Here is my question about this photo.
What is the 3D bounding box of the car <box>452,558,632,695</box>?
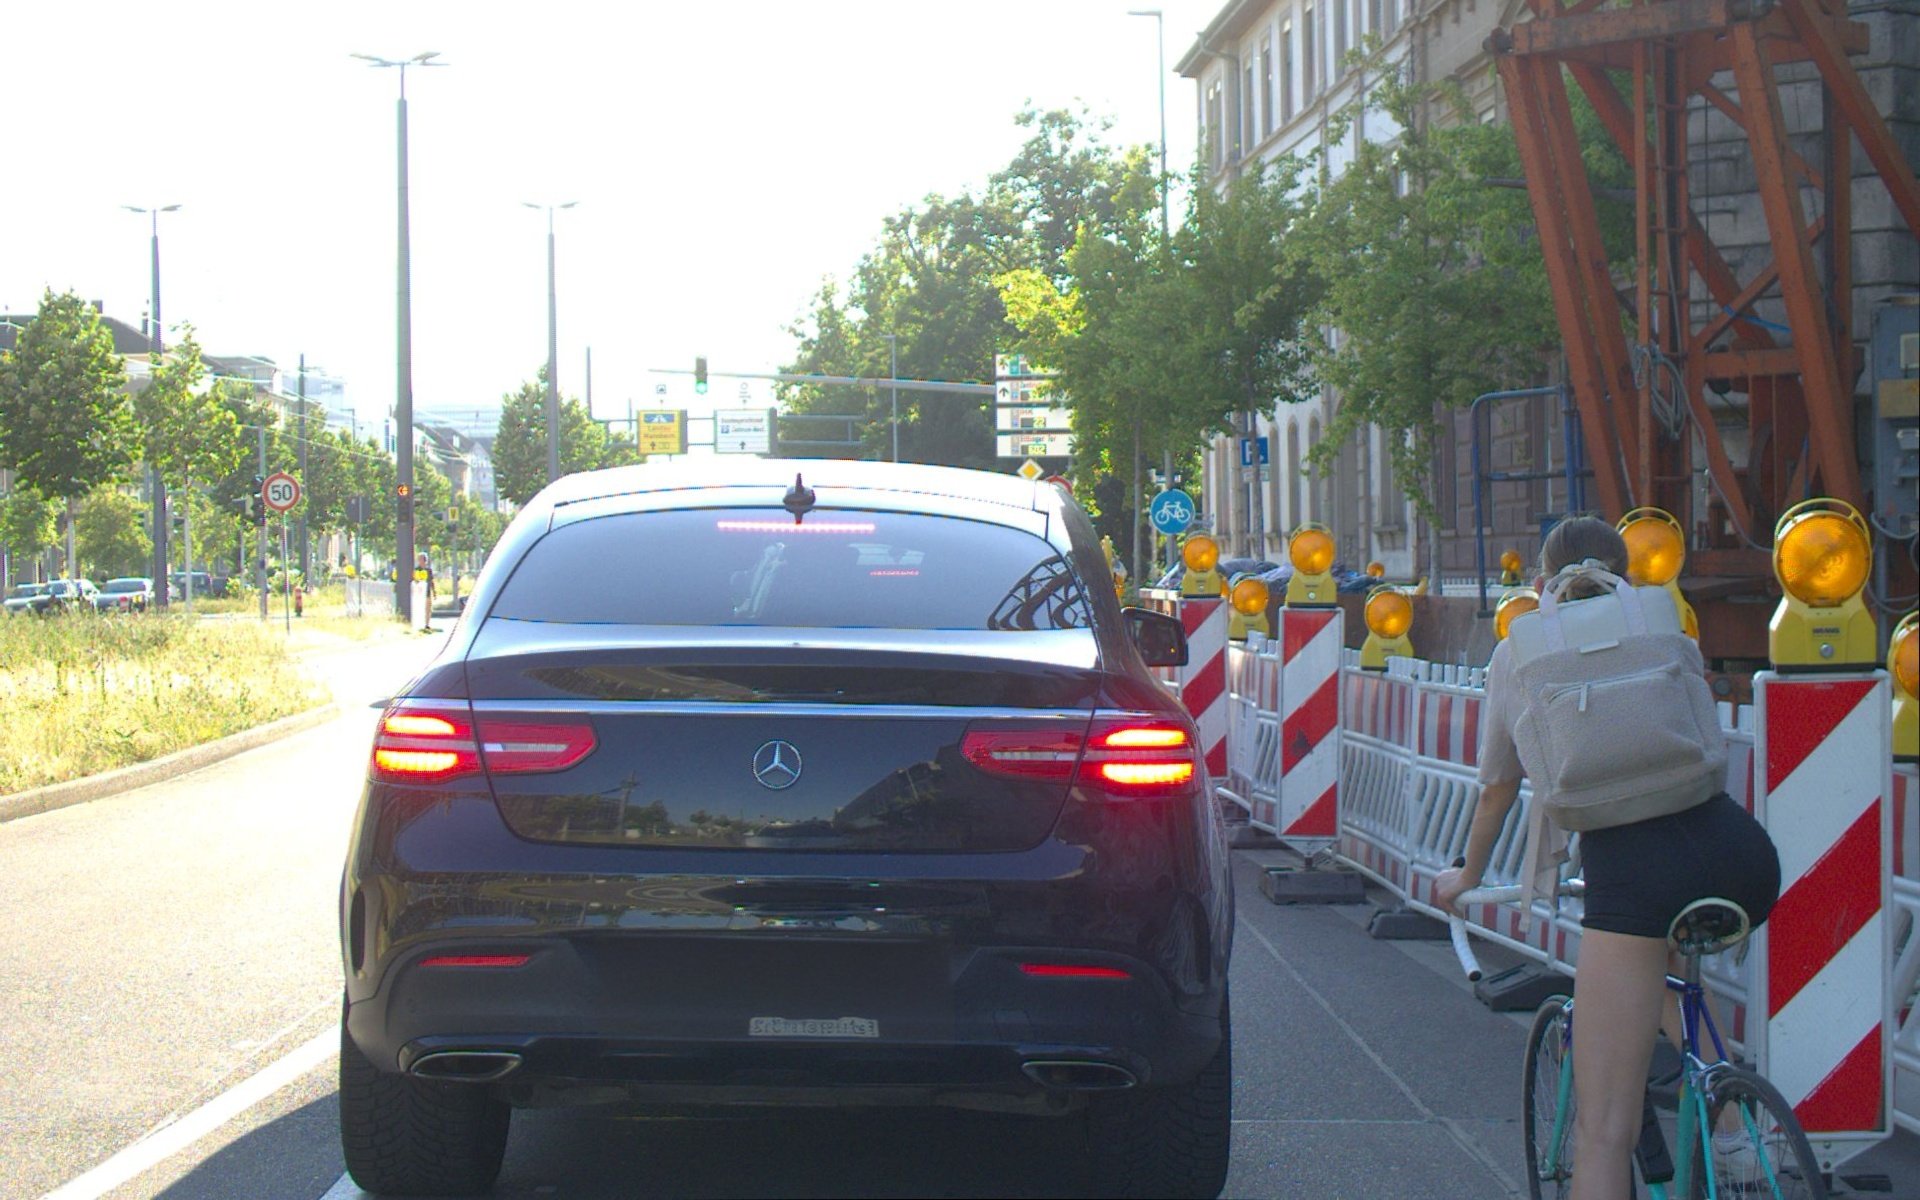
[{"bbox_3d":[-4.616,0.267,38.347,1.708,1.437,3.583,1,1,-3],"label":"car"}]

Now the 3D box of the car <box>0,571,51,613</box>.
[{"bbox_3d":[-33.873,-0.289,123.316,1.708,1.437,3.583,1,1,-3],"label":"car"}]

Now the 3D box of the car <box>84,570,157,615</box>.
[{"bbox_3d":[-28.030,-0.258,114.876,1.708,1.437,3.583,1,1,-3],"label":"car"}]

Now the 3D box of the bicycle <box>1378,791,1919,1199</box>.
[{"bbox_3d":[1.147,0.920,6.035,0.512,1.048,1.725,1,1,-3],"label":"bicycle"}]

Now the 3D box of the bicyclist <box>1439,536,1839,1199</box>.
[{"bbox_3d":[1.152,0.591,5.932,0.522,1.391,0.615,1,0,-3],"label":"bicyclist"}]

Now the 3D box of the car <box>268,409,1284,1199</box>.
[{"bbox_3d":[-0.388,0.496,8.818,1.993,1.766,4.000,1,1,-1],"label":"car"}]

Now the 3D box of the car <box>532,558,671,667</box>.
[{"bbox_3d":[-4.949,0.145,47.808,1.708,1.437,3.583,1,1,-3],"label":"car"}]

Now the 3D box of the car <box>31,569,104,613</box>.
[{"bbox_3d":[-30.567,-0.321,117.763,1.708,1.437,3.583,1,1,-3],"label":"car"}]

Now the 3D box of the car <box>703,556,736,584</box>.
[{"bbox_3d":[-12.841,-1.600,183.682,1.708,1.437,3.583,1,1,-3],"label":"car"}]
